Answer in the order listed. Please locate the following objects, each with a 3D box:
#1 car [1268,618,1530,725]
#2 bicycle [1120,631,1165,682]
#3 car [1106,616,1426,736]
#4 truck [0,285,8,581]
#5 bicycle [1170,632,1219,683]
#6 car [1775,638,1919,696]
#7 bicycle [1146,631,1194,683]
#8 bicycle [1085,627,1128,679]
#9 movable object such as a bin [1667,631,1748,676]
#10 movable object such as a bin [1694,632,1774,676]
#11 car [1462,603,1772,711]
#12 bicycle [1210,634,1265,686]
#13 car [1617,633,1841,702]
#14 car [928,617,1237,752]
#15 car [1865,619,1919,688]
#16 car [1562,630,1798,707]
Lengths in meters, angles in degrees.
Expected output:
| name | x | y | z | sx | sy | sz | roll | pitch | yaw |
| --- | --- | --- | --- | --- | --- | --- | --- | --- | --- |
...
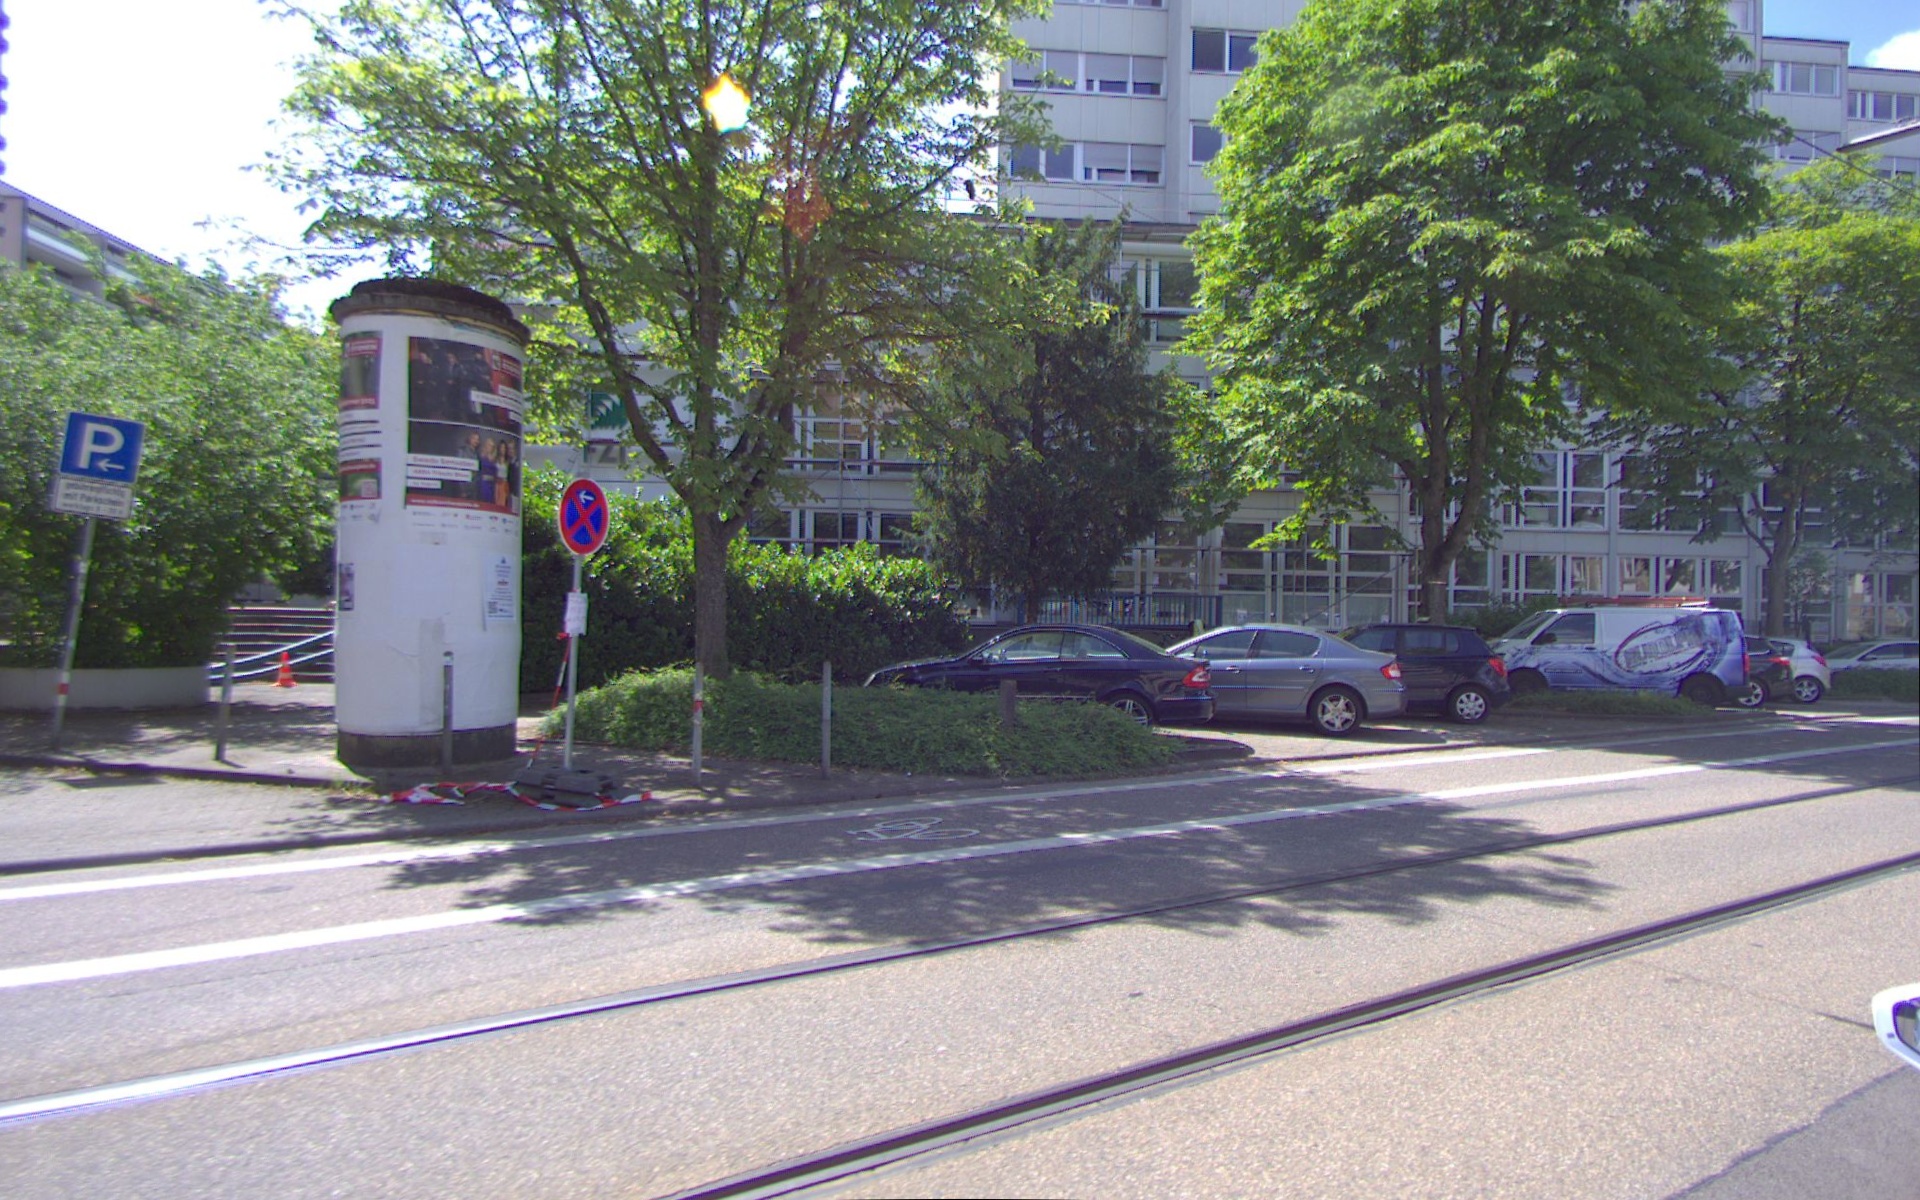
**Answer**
| name | x | y | z | sx | sy | sz | roll | pitch | yaw |
| --- | --- | --- | --- | --- | --- | --- | --- | --- | --- |
| car | 6.878 | 1.098 | 16.137 | 3.634 | 1.564 | 1.693 | 0 | -2 | 15 |
| bicycle | 4.355 | 1.320 | 24.051 | 0.547 | 1.089 | 2.016 | 1 | 0 | -4 |
| car | 4.322 | 1.019 | 14.443 | 4.120 | 1.526 | 1.875 | 0 | -2 | 19 |
| truck | -12.130 | -0.602 | 4.837 | 10.785 | 3.893 | 2.715 | 2 | 0 | -16 |
| bicycle | 5.627 | 1.364 | 24.189 | 0.547 | 1.089 | 2.016 | 1 | 0 | -4 |
| car | 24.076 | 1.738 | 26.215 | 3.919 | 1.452 | 1.764 | -1 | -4 | 12 |
| bicycle | 5.021 | 1.345 | 24.128 | 0.547 | 1.089 | 2.016 | 1 | 0 | -4 |
| bicycle | 3.464 | 1.237 | 23.876 | 0.547 | 1.089 | 2.016 | 1 | 0 | -4 |
| movable object such as a bin | 24.784 | 1.767 | 33.315 | 1.407 | 1.428 | 1.754 | 1 | -2 | -30 |
| movable object such as a bin | 26.124 | 1.798 | 33.937 | 1.407 | 1.428 | 1.754 | 1 | -2 | -30 |
| car | 12.611 | 1.083 | 19.641 | 4.660 | 1.960 | 1.923 | 0 | -2 | 13 |
| bicycle | 6.625 | 1.404 | 24.068 | 0.547 | 1.089 | 2.135 | 1 | 0 | -4 |
| car | 17.444 | 1.505 | 22.980 | 3.634 | 1.486 | 1.764 | 0 | -2 | 15 |
| car | 1.578 | 0.998 | 12.681 | 3.634 | 1.526 | 1.764 | 0 | -2 | 13 |
| car | 29.786 | 1.550 | 29.310 | 4.636 | 1.981 | 1.848 | 0 | -2 | 15 |
| car | 15.153 | 1.425 | 21.367 | 3.634 | 1.526 | 1.819 | 0 | -2 | 14 |
